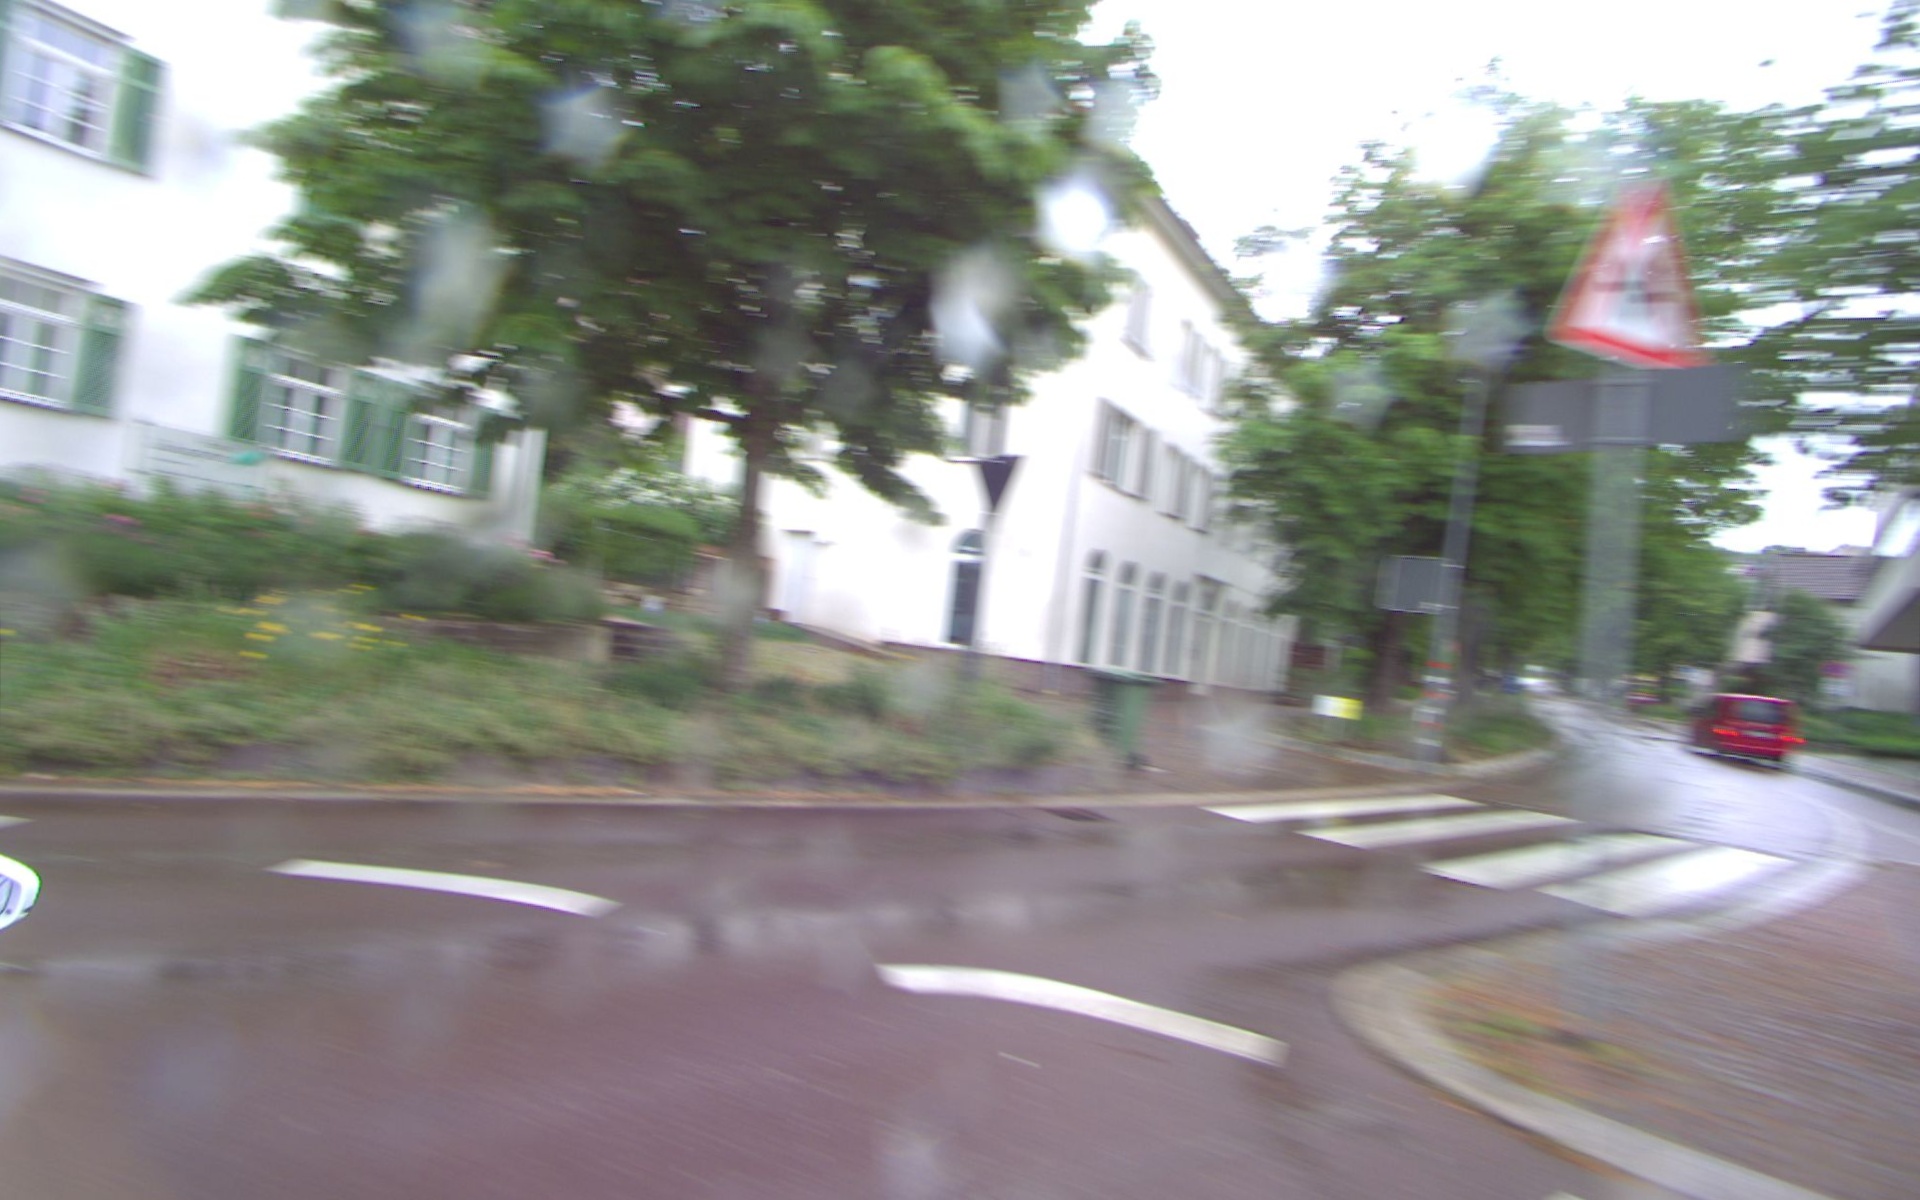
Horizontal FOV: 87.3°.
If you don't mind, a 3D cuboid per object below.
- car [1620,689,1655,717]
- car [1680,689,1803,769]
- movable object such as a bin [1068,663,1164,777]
[{"bbox_3d":[50.401,7.672,74.790,1.970,1.789,3.989,5,-3,36],"label":"car"},{"bbox_3d":[21.971,3.573,28.462,1.836,1.852,4.182,6,-2,28],"label":"car"},{"bbox_3d":[1.720,1.310,11.091,0.728,1.137,0.648,5,-2,37],"label":"movable object such as a bin"}]
